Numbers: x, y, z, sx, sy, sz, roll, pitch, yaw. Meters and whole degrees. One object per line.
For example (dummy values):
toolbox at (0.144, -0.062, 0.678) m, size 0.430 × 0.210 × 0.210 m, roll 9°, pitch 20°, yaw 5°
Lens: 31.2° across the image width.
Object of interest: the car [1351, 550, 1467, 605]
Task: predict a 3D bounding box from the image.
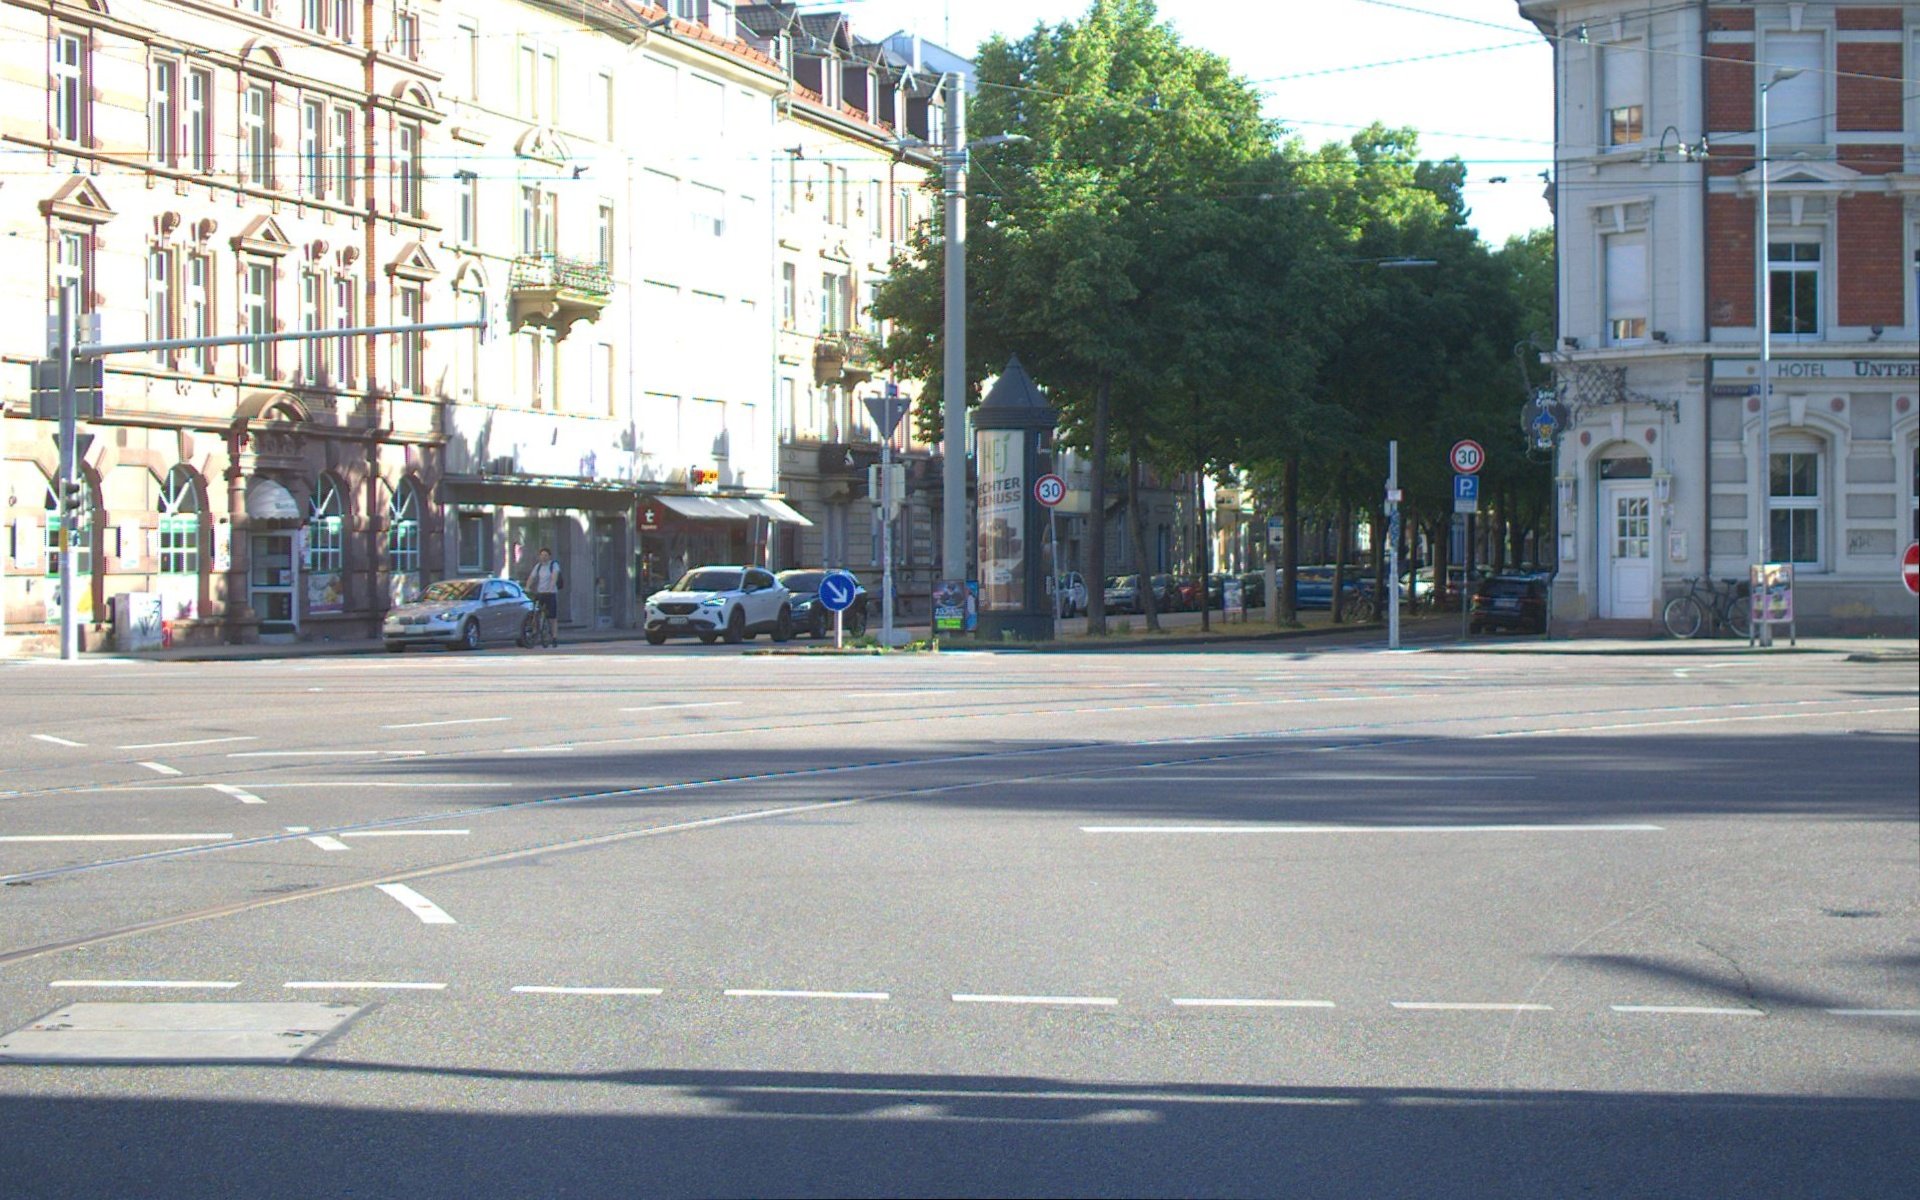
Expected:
car at (17.419, -0.866, 133.415) m, size 4.115 × 1.912 × 1.744 m, roll 3°, pitch 1°, yaw 21°

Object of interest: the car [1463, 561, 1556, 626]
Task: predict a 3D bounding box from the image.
car at (13.174, -0.149, 82.277) m, size 1.652 × 1.519 × 3.750 m, roll 0°, pitch 0°, yaw 17°

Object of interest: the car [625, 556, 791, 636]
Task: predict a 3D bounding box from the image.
car at (-4.873, -0.098, 67.158) m, size 2.098 × 1.494 × 3.998 m, roll 0°, pitch 1°, yaw 14°

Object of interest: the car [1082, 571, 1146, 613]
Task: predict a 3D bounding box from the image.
car at (5.516, -0.292, 122.775) m, size 1.741 × 1.393 × 4.122 m, roll 3°, pitch 1°, yaw 9°

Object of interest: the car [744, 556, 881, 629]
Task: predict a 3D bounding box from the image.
car at (-3.123, -0.184, 73.525) m, size 1.994 × 1.508 × 3.998 m, roll 0°, pitch 1°, yaw 12°

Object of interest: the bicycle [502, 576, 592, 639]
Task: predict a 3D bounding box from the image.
bicycle at (-7.861, 0.132, 65.621) m, size 0.751 × 1.131 × 2.808 m, roll 0°, pitch 1°, yaw 14°

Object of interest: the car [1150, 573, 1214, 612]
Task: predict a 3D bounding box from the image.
car at (8.518, -0.302, 131.599) m, size 1.742 × 1.393 × 4.121 m, roll 3°, pitch 1°, yaw 13°

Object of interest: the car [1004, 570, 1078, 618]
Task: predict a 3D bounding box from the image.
car at (2.605, -0.207, 109.993) m, size 1.741 × 1.393 × 4.122 m, roll 3°, pitch 1°, yaw 9°

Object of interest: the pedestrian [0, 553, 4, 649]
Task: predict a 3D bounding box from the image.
pedestrian at (-16.646, 0.020, 57.083) m, size 1.041 × 1.585 × 1.066 m, roll 0°, pitch 1°, yaw 31°

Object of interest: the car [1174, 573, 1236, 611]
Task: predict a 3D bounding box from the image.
car at (9.736, -0.337, 136.378) m, size 1.742 × 1.393 × 4.121 m, roll 3°, pitch 1°, yaw 13°

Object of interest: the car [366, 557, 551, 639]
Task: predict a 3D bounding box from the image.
car at (-9.772, -0.066, 67.373) m, size 2.098 × 1.540 × 4.361 m, roll 0°, pitch 1°, yaw 14°

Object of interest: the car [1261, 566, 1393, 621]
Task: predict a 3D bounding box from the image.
car at (12.300, -0.216, 115.217) m, size 4.113 × 1.640 × 1.745 m, roll 3°, pitch 1°, yaw 15°

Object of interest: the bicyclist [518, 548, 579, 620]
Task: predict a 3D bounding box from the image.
bicyclist at (-7.848, -0.309, 65.584) m, size 0.794 × 1.370 × 1.107 m, roll 0°, pitch 1°, yaw 14°

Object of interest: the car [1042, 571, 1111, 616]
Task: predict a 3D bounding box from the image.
car at (3.929, -0.246, 115.798) m, size 1.741 × 1.393 × 4.122 m, roll 3°, pitch 1°, yaw 9°

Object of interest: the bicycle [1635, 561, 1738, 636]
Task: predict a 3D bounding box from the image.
bicycle at (12.066, -0.029, 57.126) m, size 1.639 × 1.218 × 0.606 m, roll 0°, pitch 1°, yaw 16°
